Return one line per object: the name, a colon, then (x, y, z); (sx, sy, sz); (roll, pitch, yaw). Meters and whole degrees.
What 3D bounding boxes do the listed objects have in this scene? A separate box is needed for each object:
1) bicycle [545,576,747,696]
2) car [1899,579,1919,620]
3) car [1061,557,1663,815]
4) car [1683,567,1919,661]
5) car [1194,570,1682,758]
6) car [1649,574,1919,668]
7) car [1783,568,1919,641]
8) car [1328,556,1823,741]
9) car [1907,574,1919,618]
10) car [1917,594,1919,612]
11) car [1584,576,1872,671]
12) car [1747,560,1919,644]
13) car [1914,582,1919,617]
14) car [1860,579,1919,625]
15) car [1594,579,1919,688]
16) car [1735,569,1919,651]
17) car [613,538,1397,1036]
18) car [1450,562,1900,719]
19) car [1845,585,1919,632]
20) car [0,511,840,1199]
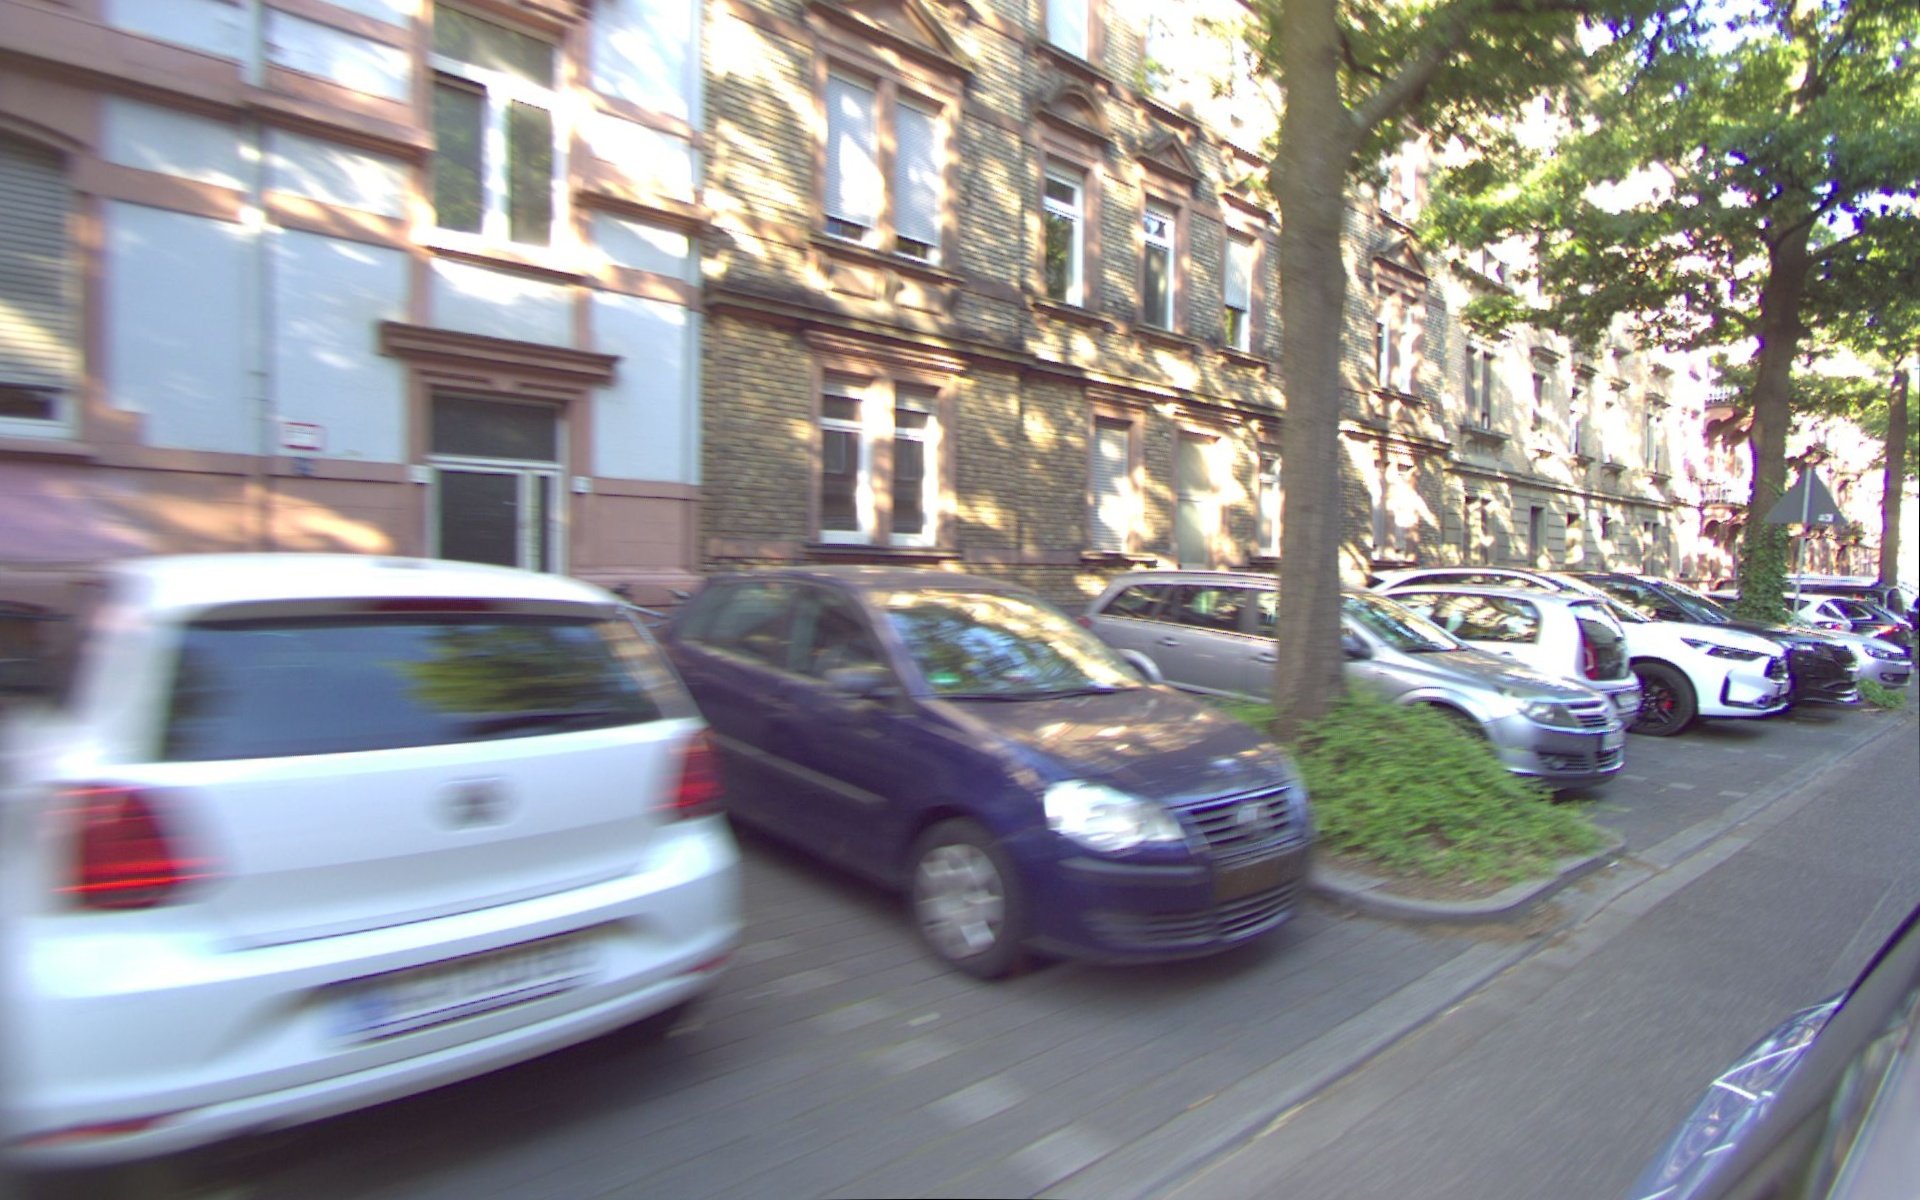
bicycle: (-2.997, 0.311, 9.826); (0.404, 1.058, 1.918); (2, 2, 43)
car: (42.221, 0.089, 42.464); (1.707, 1.702, 3.846); (0, 4, -38)
car: (3.007, 0.462, 8.268); (1.771, 1.555, 4.227); (0, 1, -43)
car: (18.256, 0.224, 21.685); (1.910, 1.810, 4.136); (0, 2, -38)
car: (4.592, 0.467, 10.250); (1.769, 1.488, 4.110); (0, 1, -39)
car: (16.195, 0.328, 19.770); (1.903, 1.472, 4.153); (0, 3, -41)
car: (26.564, 0.136, 28.679); (4.636, 1.913, 1.889); (3, 2, 28)
car: (6.731, 0.361, 11.502); (1.859, 1.676, 4.483); (-2, 3, -41)
car: (44.114, -0.022, 43.954); (1.748, 1.909, 4.059); (0, 4, -38)
car: (49.296, -0.003, 48.932); (1.749, 1.640, 4.060); (0, 6, -39)
car: (13.984, 0.349, 18.584); (1.659, 1.513, 3.991); (0, 2, -43)
car: (23.821, 0.055, 26.356); (2.140, 1.924, 4.927); (0, 4, -44)
car: (45.905, 0.120, 45.532); (1.748, 1.599, 4.059); (0, 4, -38)
car: (36.333, 0.157, 37.465); (1.709, 1.607, 4.241); (0, 5, -42)
car: (12.653, 0.425, 16.136); (1.657, 1.474, 3.996); (0, 2, -40)
car: (21.747, 0.239, 24.100); (2.044, 1.652, 4.927); (0, 4, -44)
car: (-0.157, 0.480, 5.138); (1.648, 1.404, 3.996); (0, 5, -41)
car: (9.087, 0.359, 13.236); (1.858, 1.676, 4.487); (-2, 3, -39)
car: (31.256, 0.350, 32.124); (1.868, 1.384, 4.471); (0, 3, -39)
car: (-2.333, 0.526, 3.594); (1.753, 1.480, 3.991); (0, 2, -44)
